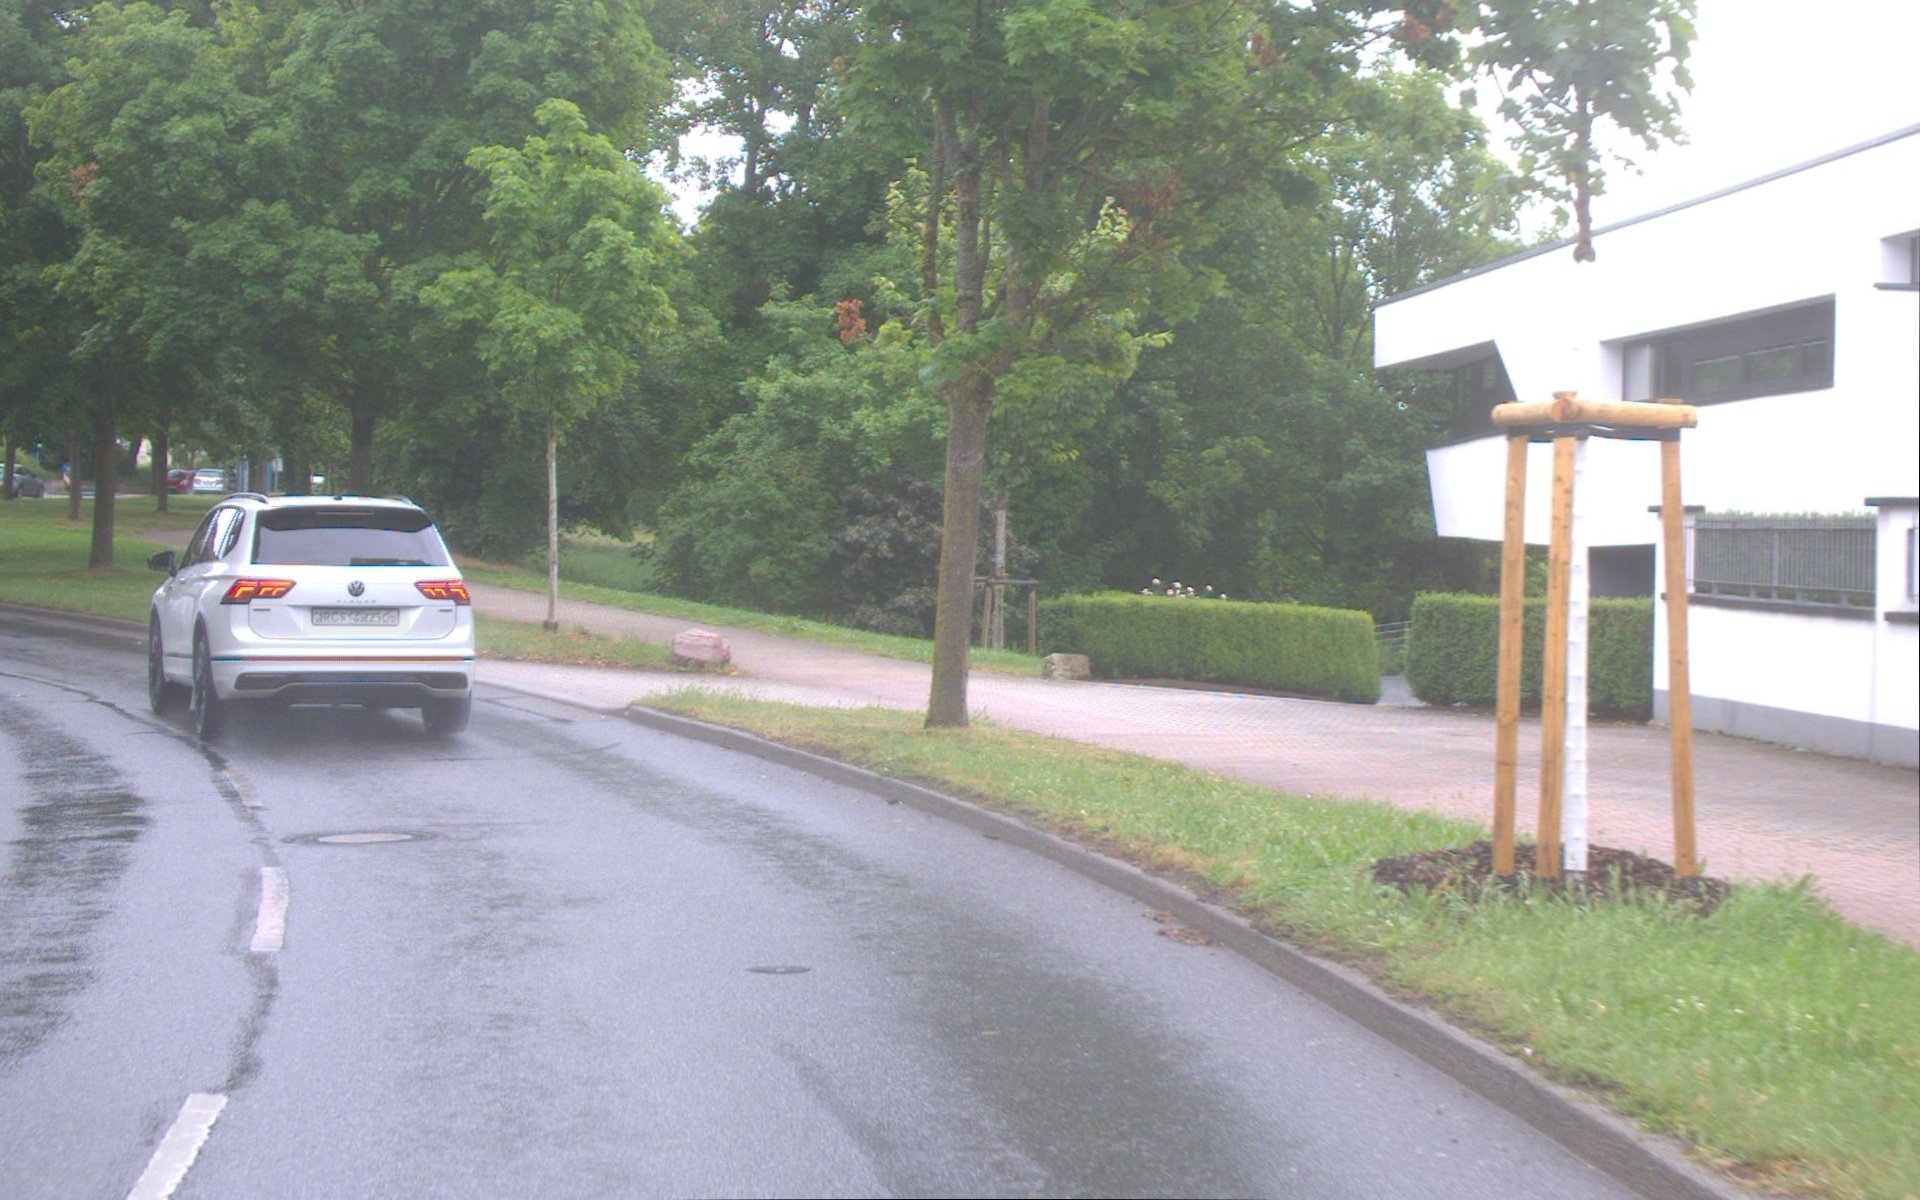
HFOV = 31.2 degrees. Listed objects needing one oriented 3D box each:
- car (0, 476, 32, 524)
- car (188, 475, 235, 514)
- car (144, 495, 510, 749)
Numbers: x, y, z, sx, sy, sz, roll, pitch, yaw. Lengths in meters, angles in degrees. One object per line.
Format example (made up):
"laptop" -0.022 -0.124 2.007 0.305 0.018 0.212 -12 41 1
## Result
"car" -37.899 -3.971 134.991 1.993 1.798 4.001 3 0 -4
"car" -38.308 -5.396 175.995 1.993 1.801 4.001 3 0 -8
"car" -4.607 0.085 24.556 1.973 1.647 4.178 0 2 -19
